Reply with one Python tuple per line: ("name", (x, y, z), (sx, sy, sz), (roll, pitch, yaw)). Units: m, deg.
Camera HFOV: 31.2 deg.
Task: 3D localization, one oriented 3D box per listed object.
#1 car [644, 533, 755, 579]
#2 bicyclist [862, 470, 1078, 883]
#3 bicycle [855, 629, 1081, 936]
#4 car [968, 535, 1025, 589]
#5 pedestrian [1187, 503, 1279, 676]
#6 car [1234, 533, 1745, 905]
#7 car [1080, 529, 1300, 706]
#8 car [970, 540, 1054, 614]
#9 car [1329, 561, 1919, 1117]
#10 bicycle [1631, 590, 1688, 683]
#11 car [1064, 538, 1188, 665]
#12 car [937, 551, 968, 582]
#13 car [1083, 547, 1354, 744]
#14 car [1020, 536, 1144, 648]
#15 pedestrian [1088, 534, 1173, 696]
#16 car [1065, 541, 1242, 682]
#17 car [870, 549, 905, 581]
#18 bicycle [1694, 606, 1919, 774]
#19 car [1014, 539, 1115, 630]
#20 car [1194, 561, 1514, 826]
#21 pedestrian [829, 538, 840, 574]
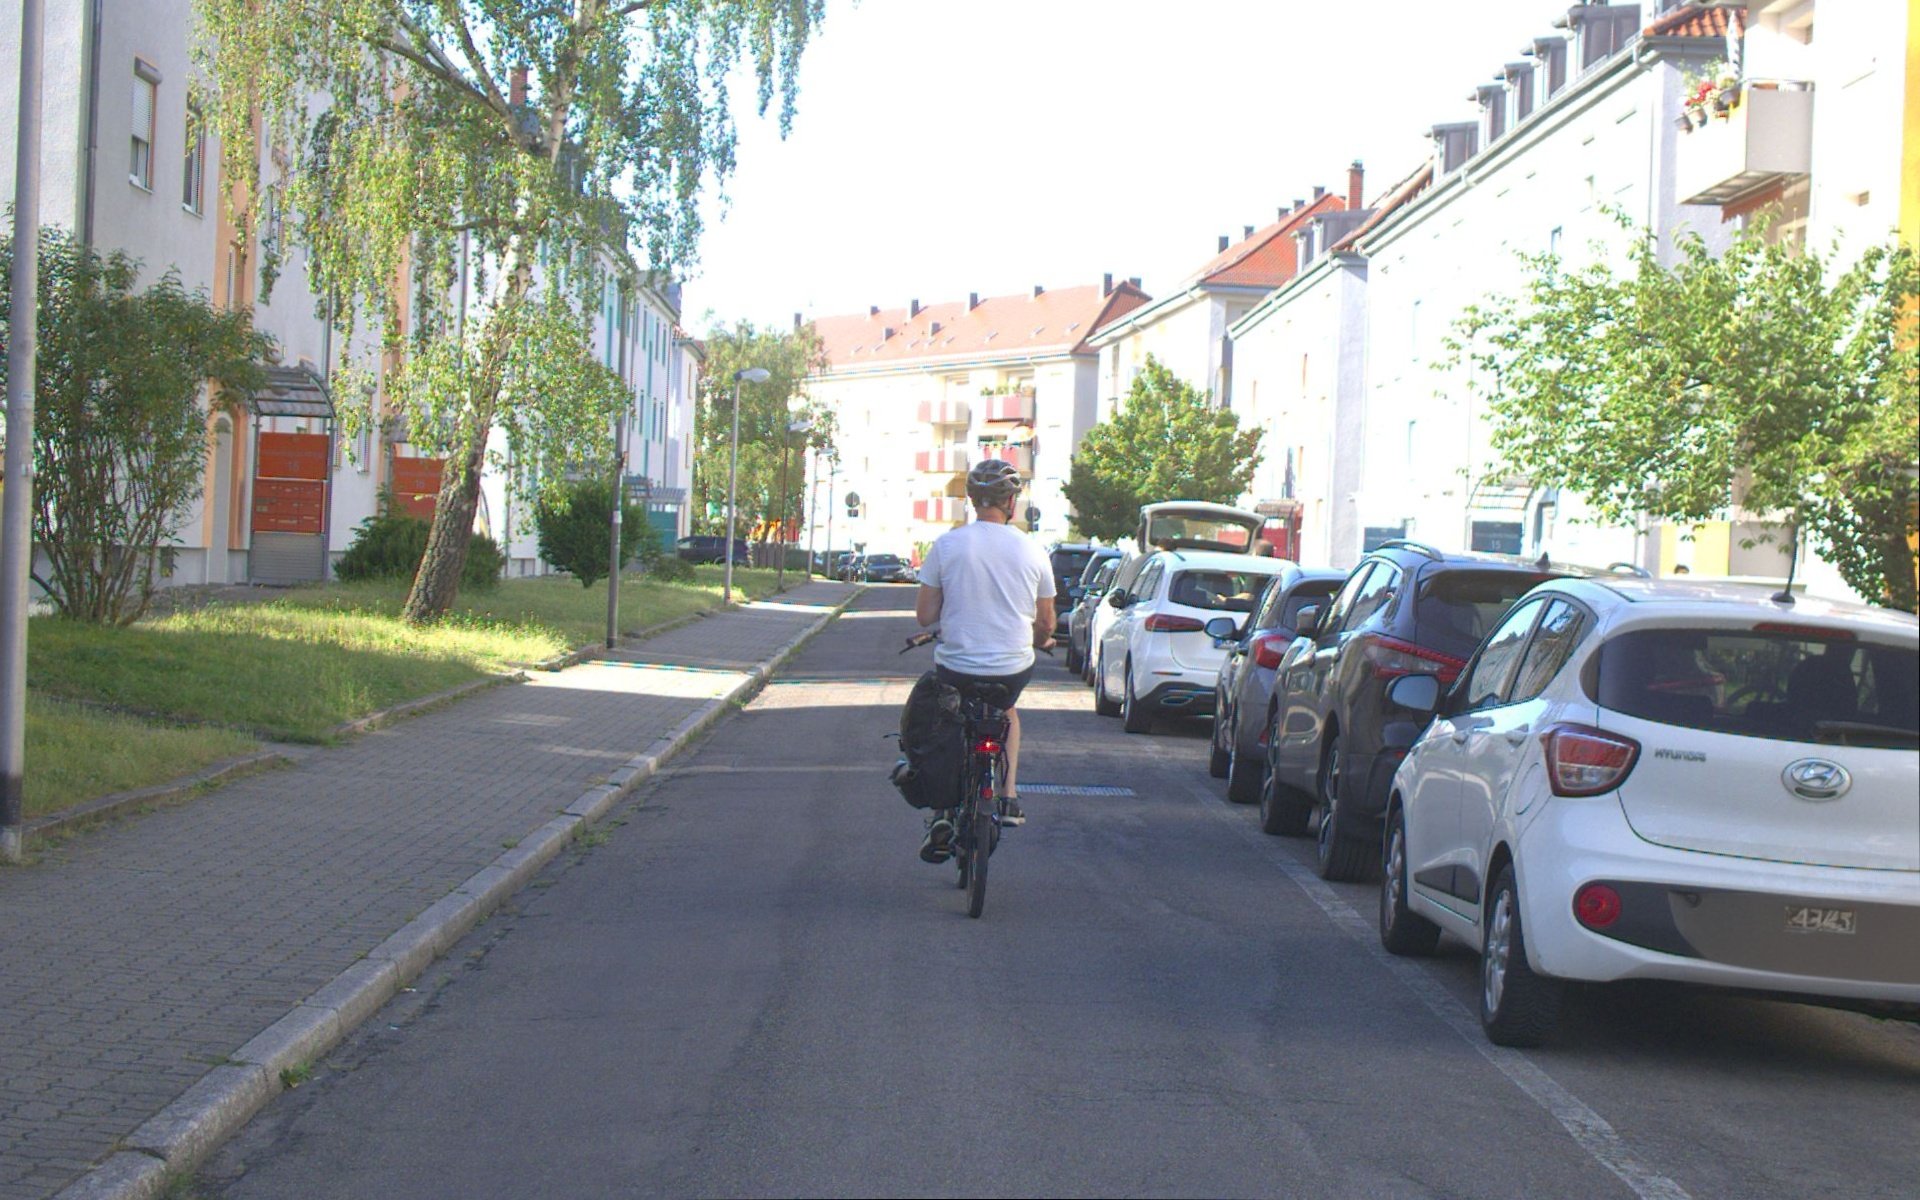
("car", (-10.137, -1.713, 133.992), (4.231, 1.633, 1.583), (2, 1, -4))
("bicyclist", (0.028, 0.299, 14.206), (0.808, 1.638, 0.899), (1, 1, -3))
("bicycle", (0.000, 0.721, 14.433), (0.808, 1.124, 2.102), (1, 1, -3))
("car", (1.272, -1.340, 120.029), (1.674, 1.733, 3.943), (3, 1, -3))
("pedestrian", (2.696, -0.105, 33.998), (0.819, 1.681, 0.604), (1, 1, -1))
("car", (2.474, 0.482, 17.105), (1.723, 1.573, 4.353), (1, 1, -2))
("car", (2.351, 0.129, 36.362), (1.994, 1.607, 4.995), (4, 1, 1))
("car", (1.257, -0.591, 85.472), (1.862, 1.662, 4.127), (4, 1, -1))
("car", (2.462, 0.701, 11.993), (1.713, 1.504, 3.854), (5, 1, -2))
("bicycle", (8.463, 0.431, 41.594), (0.403, 1.083, 1.299), (1, 1, 0))
("car", (2.226, -0.003, 45.843), (1.480, 1.524, 2.940), (4, 1, 3))
("car", (-0.367, -1.654, 169.274), (1.381, 1.492, 3.077), (2, 1, -3))
("car", (2.176, 0.336, 30.126), (1.772, 1.499, 4.481), (3, 1, -3))
("car", (1.950, -0.167, 56.019), (1.783, 1.642, 4.469), (4, 1, 0))
("pedestrian", (1.684, 0.137, 34.046), (0.739, 1.569, 0.880), (2, 1, -1))
("car", (2.272, 0.100, 41.369), (1.693, 1.486, 3.985), (4, 1, -2))
("car", (-3.220, -1.555, 152.385), (1.469, 1.331, 3.141), (2, 1, -3))
("bicycle", (6.521, 0.642, 24.473), (2.424, 1.126, 0.879), (1, 1, 6))
("car", (1.820, -0.308, 61.115), (1.641, 1.493, 4.156), (2, 1, 0))
("car", (2.465, 0.527, 22.348), (1.647, 1.444, 4.060), (4, 1, 2))
("pedestrian", (-5.450, -1.910, 148.932), (0.434, 1.569, 0.543), (2, 1, -1))
